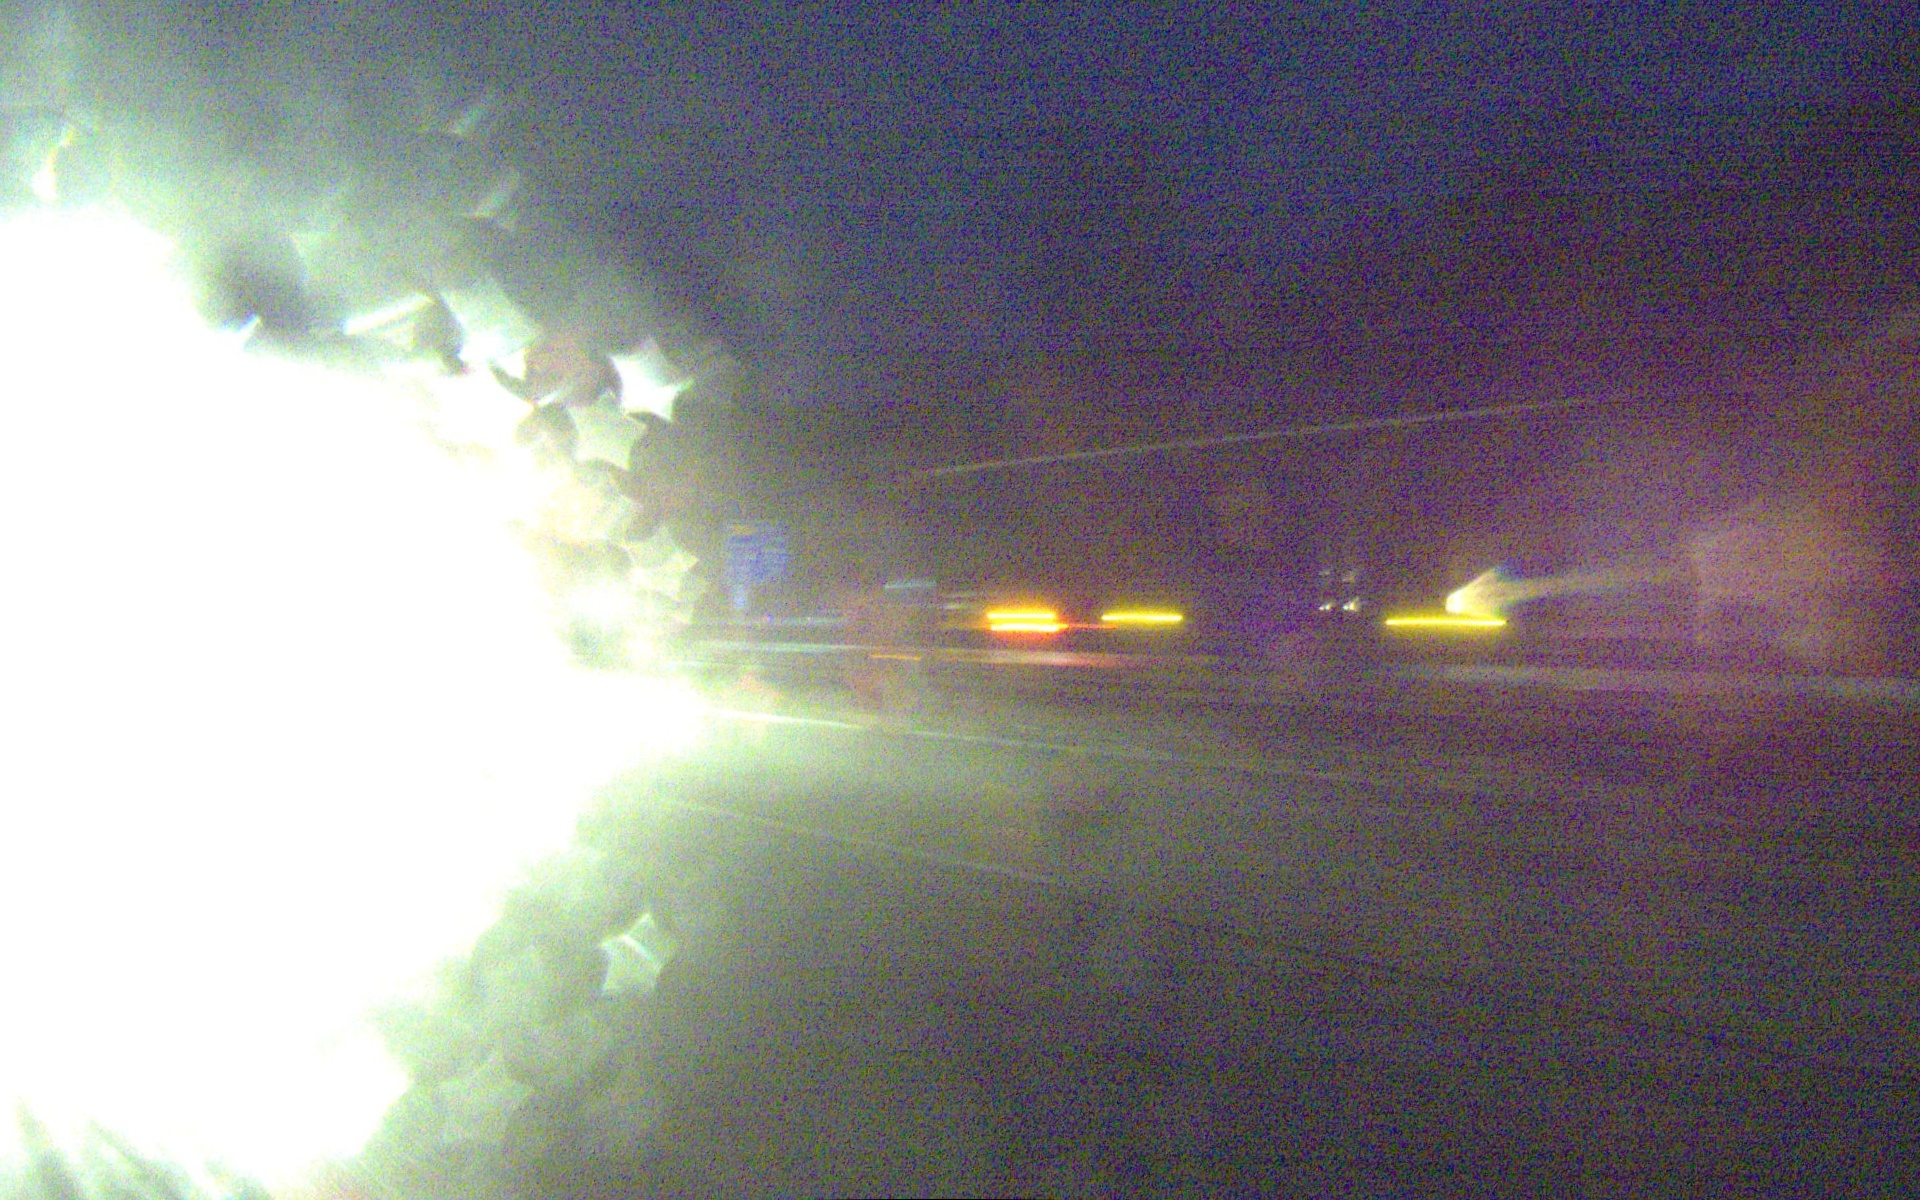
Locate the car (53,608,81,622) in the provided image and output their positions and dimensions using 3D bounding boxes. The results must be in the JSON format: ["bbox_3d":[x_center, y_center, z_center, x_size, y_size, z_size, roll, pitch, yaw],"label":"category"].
[{"bbox_3d":[-99.890,1.650,113.167,4.305,1.520,1.862,0,1,42],"label":"car"}]

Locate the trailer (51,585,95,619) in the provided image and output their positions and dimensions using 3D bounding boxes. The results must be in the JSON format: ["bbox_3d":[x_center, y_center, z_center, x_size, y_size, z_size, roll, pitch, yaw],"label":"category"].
[{"bbox_3d":[-113.528,0.318,129.473,11.723,4.205,3.318,-1,-1,44],"label":"trailer"}]

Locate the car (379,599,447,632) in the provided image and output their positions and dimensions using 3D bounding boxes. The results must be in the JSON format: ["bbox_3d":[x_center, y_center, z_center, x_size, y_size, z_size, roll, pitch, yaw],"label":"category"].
[{"bbox_3d":[-29.956,0.814,55.374,4.331,1.660,1.822,0,1,41],"label":"car"}]

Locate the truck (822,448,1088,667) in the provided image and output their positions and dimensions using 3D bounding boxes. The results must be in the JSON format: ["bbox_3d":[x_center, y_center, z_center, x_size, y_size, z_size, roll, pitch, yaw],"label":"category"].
[{"bbox_3d":[-0.220,-0.889,23.378,5.846,4.437,2.539,0,1,40],"label":"truck"}]

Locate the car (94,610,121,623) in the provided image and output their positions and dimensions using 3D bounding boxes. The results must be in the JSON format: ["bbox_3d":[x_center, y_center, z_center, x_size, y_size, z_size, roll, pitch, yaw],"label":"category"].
[{"bbox_3d":[-99.010,1.884,117.514,4.166,1.405,1.819,-1,-1,41],"label":"car"}]

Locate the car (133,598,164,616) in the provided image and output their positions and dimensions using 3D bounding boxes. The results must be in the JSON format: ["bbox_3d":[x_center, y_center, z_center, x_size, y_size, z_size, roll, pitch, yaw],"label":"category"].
[{"bbox_3d":[-86.040,0.727,107.273,4.845,1.924,1.870,0,1,44],"label":"car"}]

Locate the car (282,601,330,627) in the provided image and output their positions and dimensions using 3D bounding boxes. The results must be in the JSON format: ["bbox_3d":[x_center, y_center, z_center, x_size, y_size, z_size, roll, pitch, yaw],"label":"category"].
[{"bbox_3d":[-43.969,0.926,67.984,4.200,1.624,1.788,-3,-1,44],"label":"car"}]

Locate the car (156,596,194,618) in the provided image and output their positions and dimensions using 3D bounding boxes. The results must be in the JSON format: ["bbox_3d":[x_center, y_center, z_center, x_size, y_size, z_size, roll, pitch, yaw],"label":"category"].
[{"bbox_3d":[-70.471,0.624,90.843,5.137,1.924,1.965,0,1,44],"label":"car"}]

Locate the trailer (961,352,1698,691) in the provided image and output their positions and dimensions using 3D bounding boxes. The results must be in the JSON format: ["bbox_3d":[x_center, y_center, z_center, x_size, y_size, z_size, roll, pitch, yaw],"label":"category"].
[{"bbox_3d":[5.651,-1.086,18.432,12.482,4.490,2.549,0,1,40],"label":"trailer"}]

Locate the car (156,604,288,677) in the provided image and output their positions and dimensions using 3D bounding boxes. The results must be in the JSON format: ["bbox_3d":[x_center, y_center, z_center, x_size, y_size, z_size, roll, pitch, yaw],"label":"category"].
[{"bbox_3d":[-17.483,0.932,23.916,3.845,1.587,1.633,-1,-1,40],"label":"car"}]

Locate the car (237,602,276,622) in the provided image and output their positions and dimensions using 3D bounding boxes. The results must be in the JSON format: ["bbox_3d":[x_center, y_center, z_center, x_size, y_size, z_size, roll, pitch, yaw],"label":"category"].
[{"bbox_3d":[-55.603,0.923,79.964,3.804,1.506,1.744,0,1,44],"label":"car"}]
